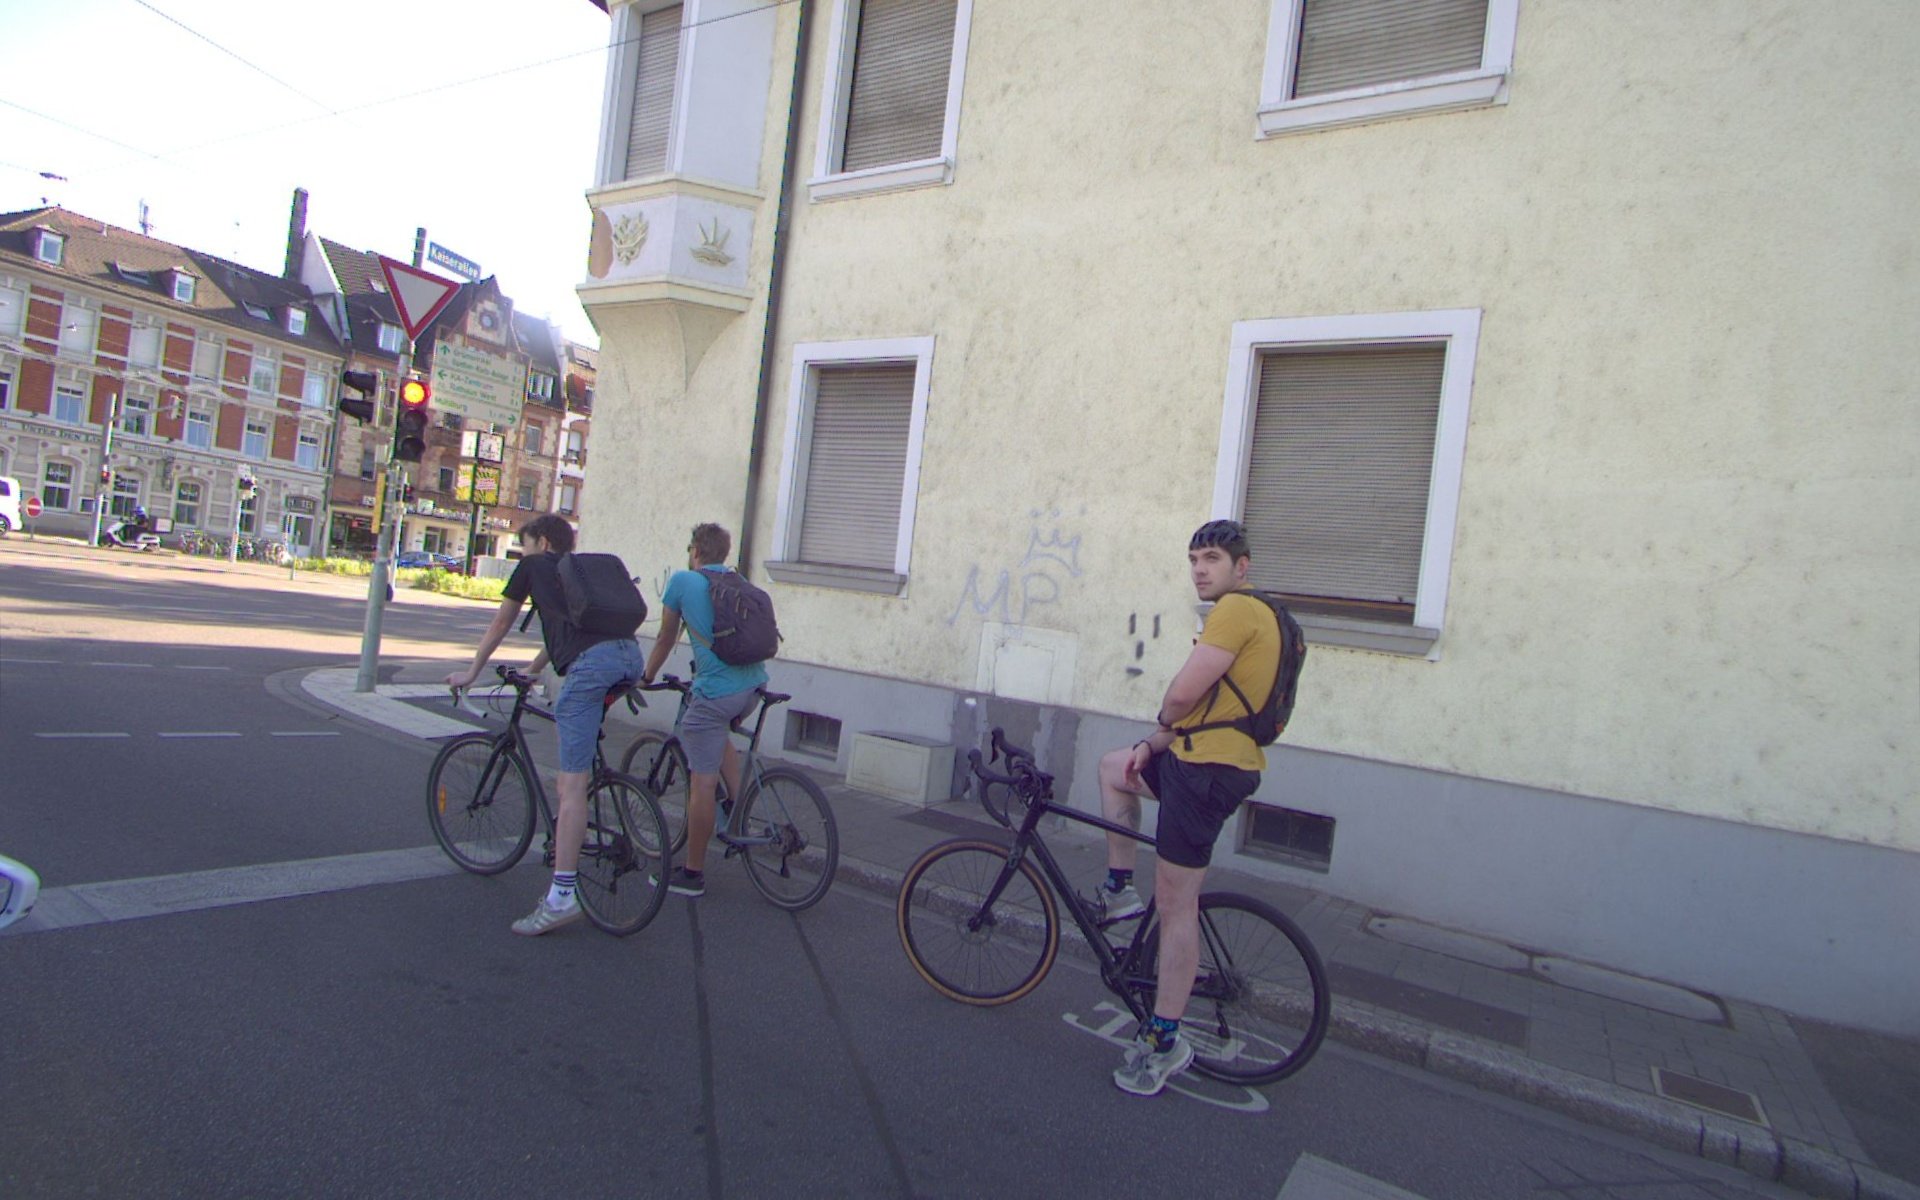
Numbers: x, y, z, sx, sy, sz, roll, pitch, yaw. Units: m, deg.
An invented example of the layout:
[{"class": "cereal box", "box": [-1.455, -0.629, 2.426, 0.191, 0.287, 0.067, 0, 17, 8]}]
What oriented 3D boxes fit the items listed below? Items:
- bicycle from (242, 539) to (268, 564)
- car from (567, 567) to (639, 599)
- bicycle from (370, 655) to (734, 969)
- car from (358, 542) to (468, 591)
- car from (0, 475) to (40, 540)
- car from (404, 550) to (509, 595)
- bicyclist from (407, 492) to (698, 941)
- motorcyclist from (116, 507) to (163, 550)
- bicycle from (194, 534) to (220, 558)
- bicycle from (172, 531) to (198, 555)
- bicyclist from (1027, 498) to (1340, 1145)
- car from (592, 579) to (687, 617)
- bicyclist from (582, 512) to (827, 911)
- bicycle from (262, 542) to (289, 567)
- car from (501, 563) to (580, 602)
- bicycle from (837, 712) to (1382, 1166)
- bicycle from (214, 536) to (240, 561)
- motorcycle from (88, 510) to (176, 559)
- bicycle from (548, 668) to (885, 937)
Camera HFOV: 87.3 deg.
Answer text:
[{"class": "bicycle", "box": [-33.617, -2.310, 47.949, 0.762, 1.019, 2.196, 8, -2, -39]}, {"class": "car", "box": [-23.097, -1.085, 65.177, 1.842, 1.454, 3.985, 6, -2, 35]}, {"class": "bicycle", "box": [-1.887, 0.865, 4.540, 1.753, 1.003, 0.482, 6, -1, 32]}, {"class": "car", "box": [-25.420, -1.549, 46.878, 1.775, 1.641, 3.994, 6, -2, 33]}, {"class": "car", "box": [-31.061, -3.135, 29.760, 1.963, 1.876, 5.218, 7, -1, 21]}, {"class": "car", "box": [-22.636, -1.193, 45.338, 1.569, 1.443, 3.876, 7, -1, 32]}, {"class": "bicyclist", "box": [-1.837, 0.471, 4.543, 0.920, 1.787, 0.590, 6, -1, 32]}, {"class": "motorcyclist", "box": [-28.625, -2.490, 35.102, 0.777, 1.315, 1.015, 6, -2, 36]}, {"class": "bicycle", "box": [-34.740, -2.508, 46.389, 0.762, 0.979, 2.186, 8, -2, -39]}, {"class": "bicycle", "box": [-35.342, -2.609, 45.865, 0.762, 0.974, 2.186, 8, -2, -39]}, {"class": "bicyclist", "box": [0.832, 0.713, 3.667, 0.763, 1.990, 0.783, 7, 0, 18]}, {"class": "car", "box": [-17.554, -0.082, 55.401, 1.774, 1.487, 4.866, 8, -1, 32]}, {"class": "bicyclist", "box": [-1.342, 0.533, 5.267, 0.960, 1.868, 0.504, 6, -1, 32]}, {"class": "bicycle", "box": [-33.063, -2.213, 48.583, 0.789, 1.027, 2.186, 8, -2, -39]}, {"class": "car", "box": [-23.303, -0.970, 56.026, 1.749, 1.636, 3.604, 6, -2, 30]}, {"class": "bicycle", "box": [0.549, 1.122, 3.758, 1.709, 1.119, 0.783, 7, -1, 18]}, {"class": "bicycle", "box": [-34.310, -2.424, 47.093, 0.762, 0.995, 2.186, 8, -2, -39]}, {"class": "motorcycle", "box": [-28.751, -2.254, 34.964, 0.784, 1.349, 2.137, 6, -2, 36]}, {"class": "bicycle", "box": [-1.301, 0.967, 5.207, 1.753, 0.995, 0.504, 6, -1, 32]}]
